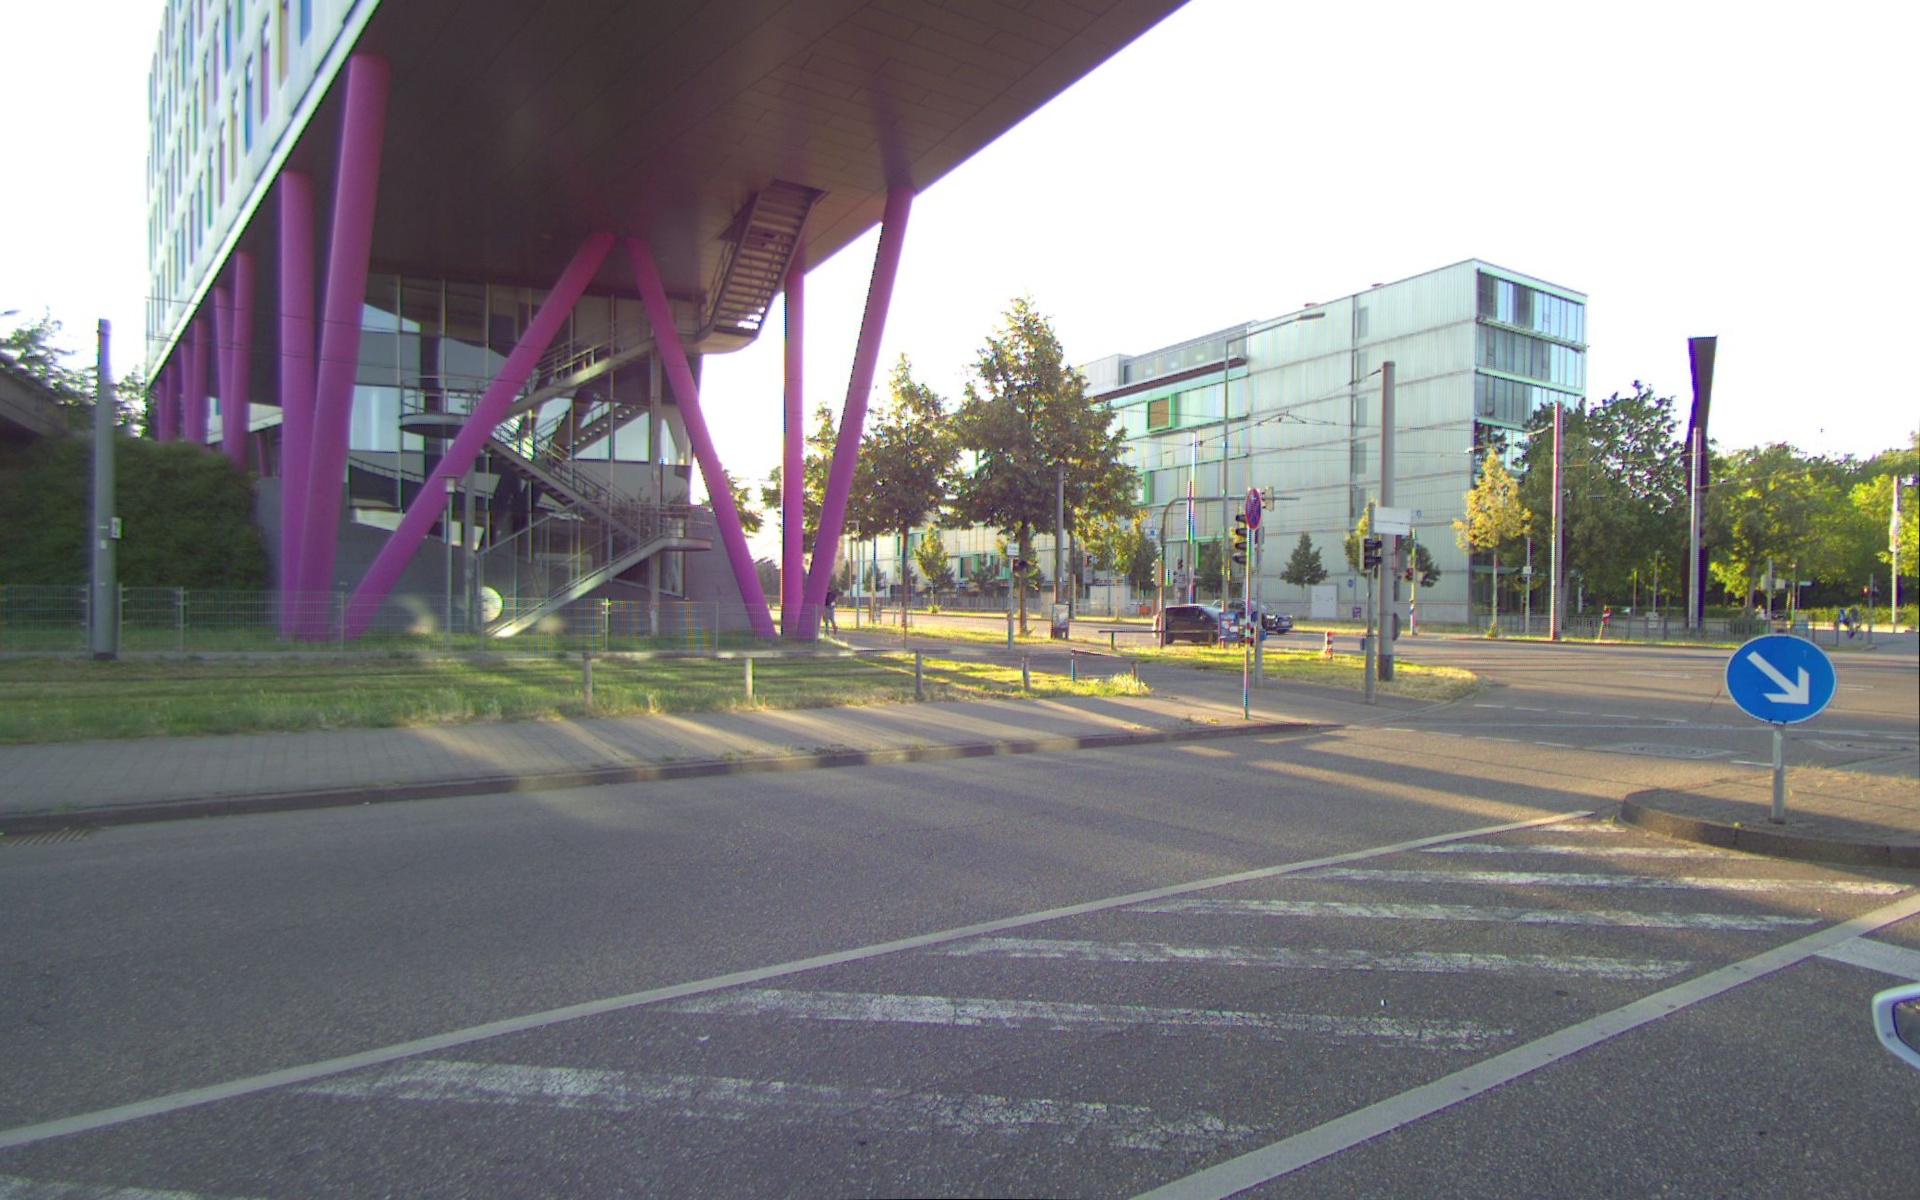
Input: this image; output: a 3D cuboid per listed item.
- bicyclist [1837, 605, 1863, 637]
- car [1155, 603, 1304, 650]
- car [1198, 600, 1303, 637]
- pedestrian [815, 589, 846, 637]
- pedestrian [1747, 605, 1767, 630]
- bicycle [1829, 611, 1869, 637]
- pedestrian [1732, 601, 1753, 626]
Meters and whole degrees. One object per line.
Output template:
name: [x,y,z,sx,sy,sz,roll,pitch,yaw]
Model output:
bicyclist: [48.960,1.129,55.247,0.738,1.732,0.920,1,0,20]
car: [9.689,0.899,36.458,1.973,1.531,4.962,1,0,-42]
car: [13.290,0.802,46.202,1.968,1.577,4.448,1,0,-34]
pedestrian: [-4.816,0.481,37.252,0.920,1.747,0.878,1,-2,-24]
pedestrian: [58.442,1.288,73.656,0.813,1.767,0.863,1,0,4]
bicycle: [48.991,1.320,55.382,0.718,1.359,2.690,1,0,20]
pedestrian: [57.498,0.987,73.808,0.813,1.767,0.863,1,0,4]
